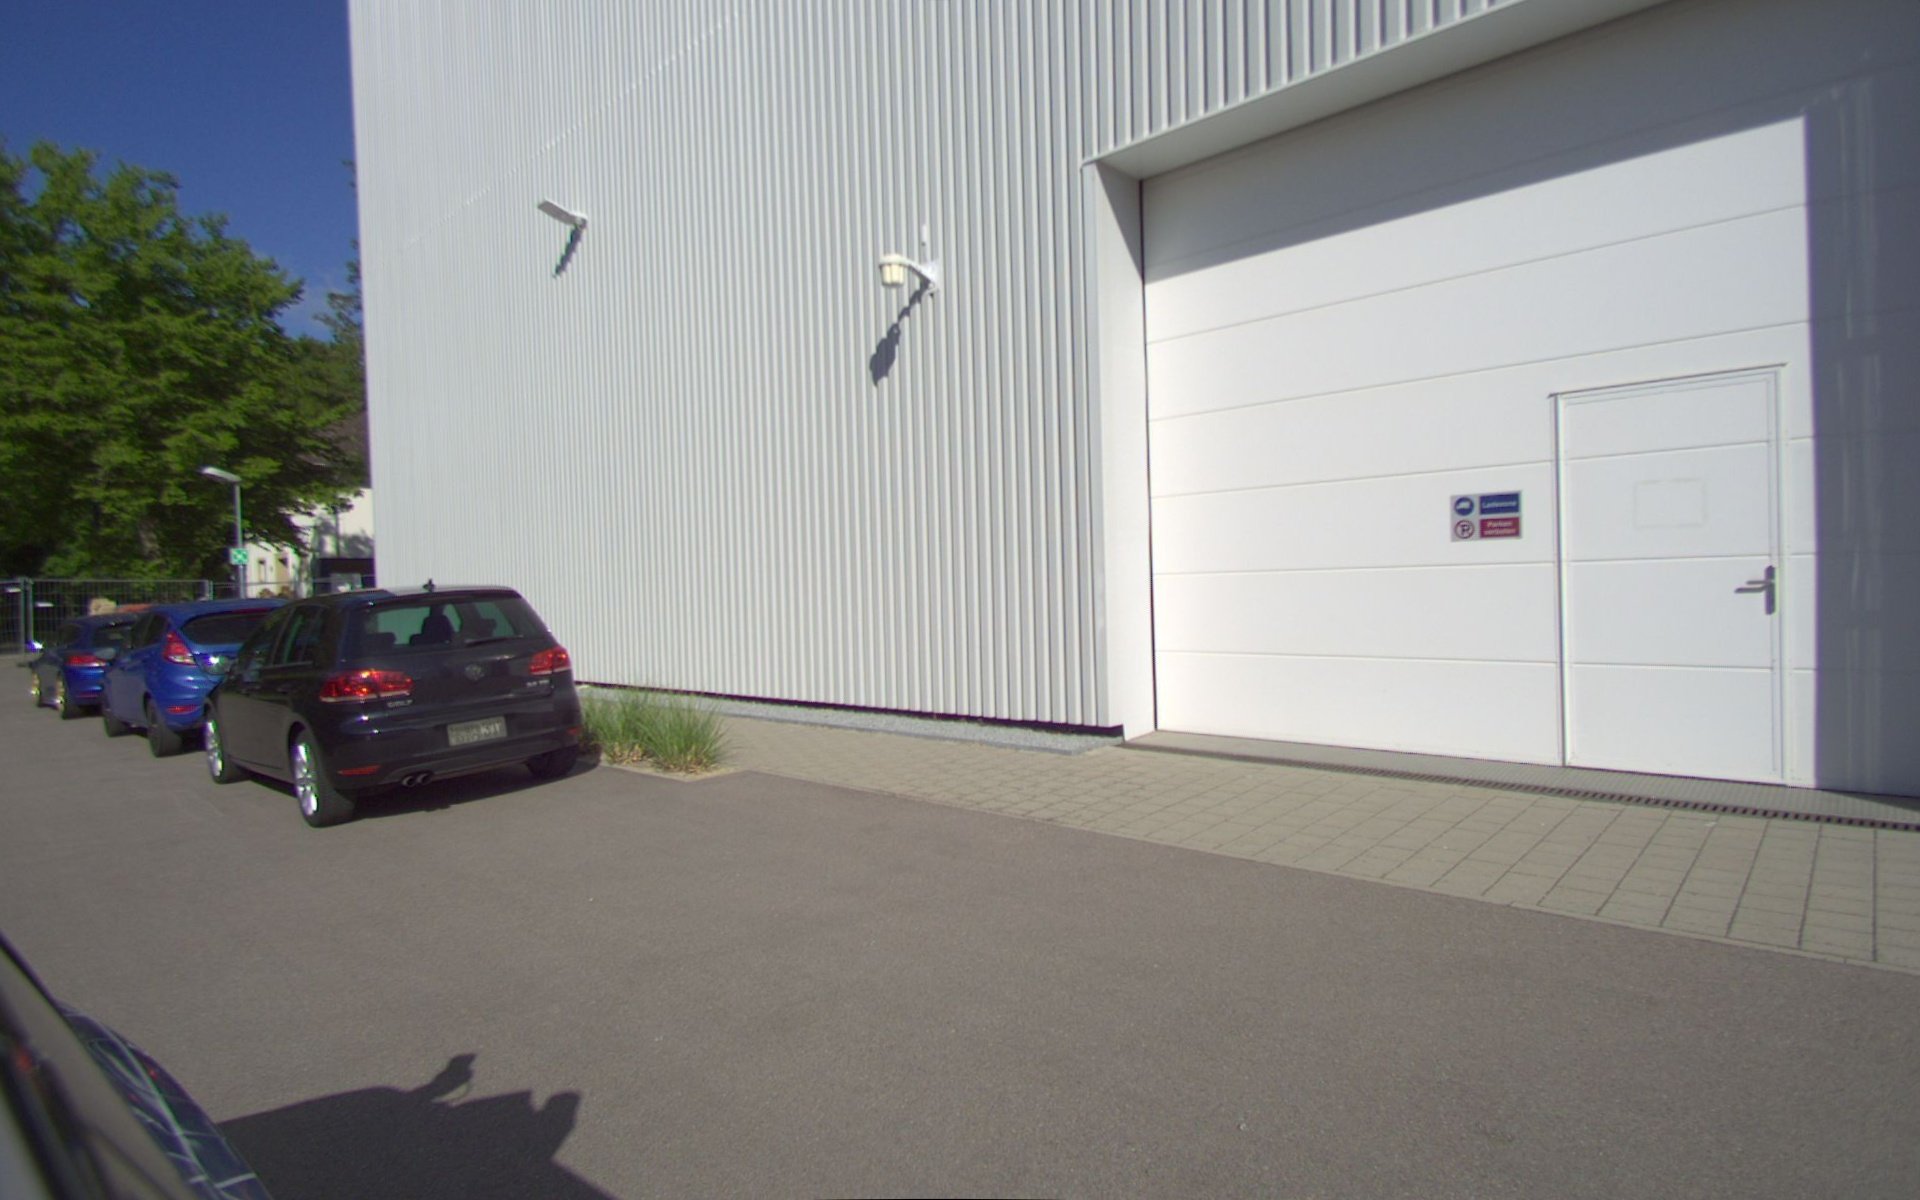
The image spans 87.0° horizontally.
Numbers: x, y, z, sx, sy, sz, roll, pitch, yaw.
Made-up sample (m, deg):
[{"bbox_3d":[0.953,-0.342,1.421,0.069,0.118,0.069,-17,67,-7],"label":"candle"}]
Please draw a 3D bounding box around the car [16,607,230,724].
[{"bbox_3d":[-12.242,0.859,14.716,4.052,1.370,1.756,-1,2,42],"label":"car"}]

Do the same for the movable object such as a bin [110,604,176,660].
[{"bbox_3d":[-22.804,0.879,28.255,1.229,1.450,1.080,-1,3,37],"label":"movable object such as a bin"}]

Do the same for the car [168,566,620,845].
[{"bbox_3d":[-4.543,0.608,7.809,4.294,1.511,1.736,-1,3,43],"label":"car"}]

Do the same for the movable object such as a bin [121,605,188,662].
[{"bbox_3d":[-21.794,0.892,27.384,1.229,1.443,1.080,-1,3,37],"label":"movable object such as a bin"}]

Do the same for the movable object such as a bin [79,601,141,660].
[{"bbox_3d":[-24.520,0.861,29.185,1.229,1.609,1.080,1,3,37],"label":"movable object such as a bin"}]

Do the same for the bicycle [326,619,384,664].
[{"bbox_3d":[-14.198,0.966,23.739,1.832,0.994,0.476,-1,2,37],"label":"bicycle"}]

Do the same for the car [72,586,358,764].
[{"bbox_3d":[-8.275,0.703,11.099,4.093,1.511,1.614,-1,3,42],"label":"car"}]
